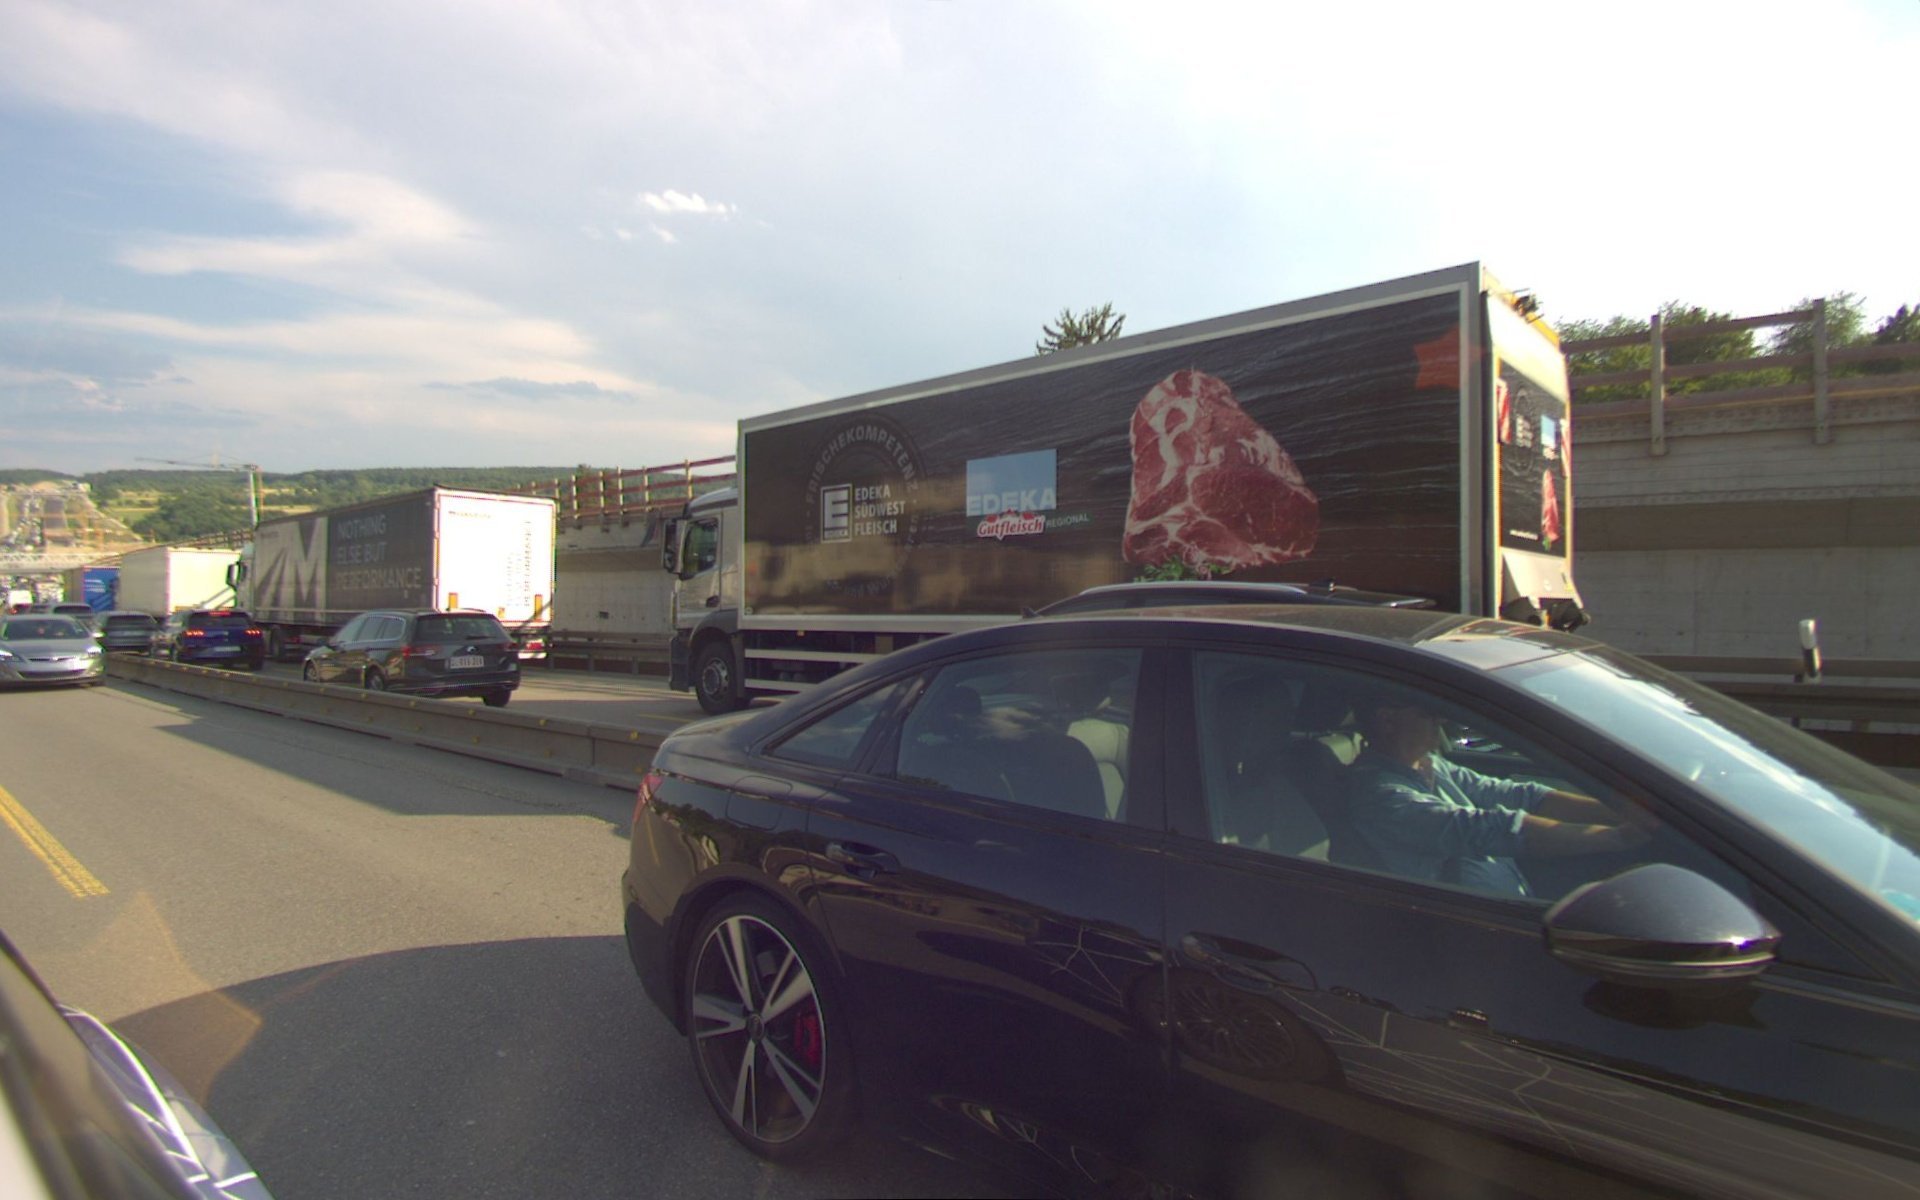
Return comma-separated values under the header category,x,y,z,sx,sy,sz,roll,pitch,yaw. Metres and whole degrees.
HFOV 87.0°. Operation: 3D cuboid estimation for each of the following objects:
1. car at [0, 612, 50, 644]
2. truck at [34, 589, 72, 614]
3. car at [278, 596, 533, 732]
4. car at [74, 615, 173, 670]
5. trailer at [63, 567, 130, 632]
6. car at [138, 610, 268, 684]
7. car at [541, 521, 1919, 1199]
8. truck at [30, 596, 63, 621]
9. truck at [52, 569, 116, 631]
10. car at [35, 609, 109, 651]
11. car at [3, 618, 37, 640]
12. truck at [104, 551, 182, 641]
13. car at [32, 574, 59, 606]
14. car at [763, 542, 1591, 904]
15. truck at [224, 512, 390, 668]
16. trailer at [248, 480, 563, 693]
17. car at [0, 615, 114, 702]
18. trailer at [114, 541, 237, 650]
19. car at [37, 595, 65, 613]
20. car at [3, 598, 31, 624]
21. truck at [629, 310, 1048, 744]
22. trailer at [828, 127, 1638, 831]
category,x,y,z,sx,sy,sz,roll,pitch,yaw
car,-53.058,1.547,57.289,4.731,1.618,1.860,0,2,43
truck,-117.949,0.188,131.600,6.492,3.169,3.198,0,-1,44
car,-8.429,0.815,15.194,4.745,1.598,1.843,1,4,42
car,-27.044,1.304,32.651,4.814,1.467,1.756,1,2,42
trailer,-58.320,-0.028,68.294,2.783,4.136,8.291,1,-1,-45
car,-18.898,1.090,25.183,4.478,1.562,1.748,1,2,42
car,1.185,0.679,2.281,5.221,1.491,1.919,-1,-1,43
truck,-94.033,0.861,104.166,2.248,2.318,6.068,-4,3,-44
truck,-65.016,0.006,74.980,10.586,4.290,2.784,0,-1,45
car,-40.045,1.313,45.582,4.974,1.667,1.986,0,2,43
car,-69.756,2.129,75.106,4.372,1.588,1.680,0,-1,45
truck,-41.956,-0.175,51.913,5.475,4.348,2.428,0,-1,44
car,-161.337,-1.695,178.408,3.280,5.428,14.313,1,-1,-43
car,1.088,0.590,6.994,5.365,1.618,1.857,0,-2,40
truck,-19.750,-0.260,30.476,6.114,4.235,2.734,0,-1,42
trailer,-14.729,-0.260,25.867,13.831,4.235,2.746,0,-1,43
car,-18.494,1.091,20.222,4.116,1.498,1.787,0,1,41
trailer,-36.105,-0.179,46.277,13.778,4.352,2.428,0,-1,44
car,-108.953,0.494,121.283,2.184,2.037,3.976,-4,3,-44
car,-100.255,1.181,107.535,1.973,2.636,5.617,1,-1,-45
truck,-1.722,-0.766,13.362,5.025,4.548,2.889,0,0,41
trailer,2.174,-0.774,9.933,7.149,4.499,2.881,0,0,41
